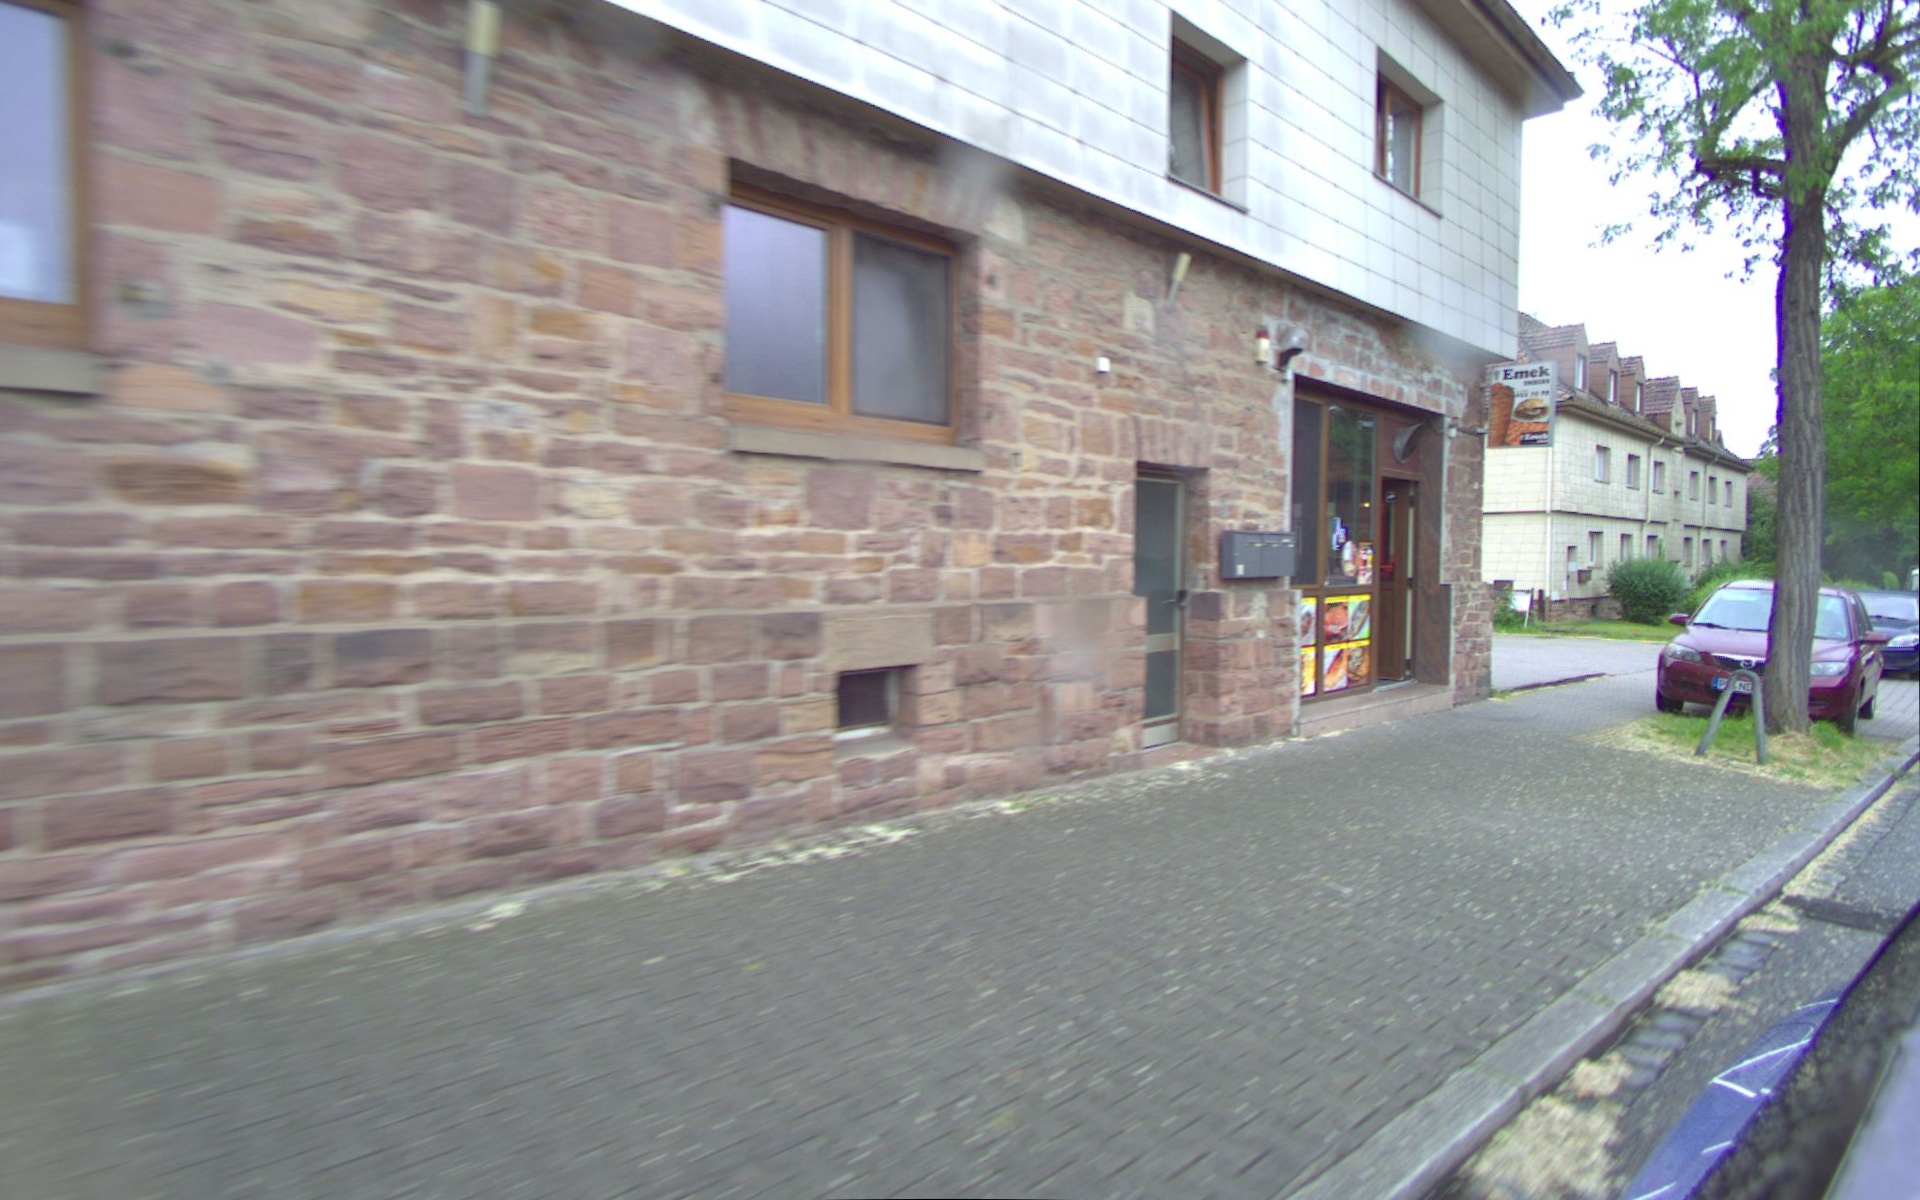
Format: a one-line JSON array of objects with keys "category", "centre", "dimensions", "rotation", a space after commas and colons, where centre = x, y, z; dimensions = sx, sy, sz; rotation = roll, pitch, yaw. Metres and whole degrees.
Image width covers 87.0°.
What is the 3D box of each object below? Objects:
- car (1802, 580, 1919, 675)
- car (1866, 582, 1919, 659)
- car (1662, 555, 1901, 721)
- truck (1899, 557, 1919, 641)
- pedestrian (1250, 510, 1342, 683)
[{"category": "car", "centre": [16.459, 0.418, 17.910], "dimensions": [3.930, 1.441, 1.719], "rotation": [-1, 4, -41]}, {"category": "car", "centre": [20.482, 0.407, 21.242], "dimensions": [3.932, 1.481, 1.719], "rotation": [-1, 4, -42]}, {"category": "car", "centre": [9.135, 0.387, 11.153], "dimensions": [3.693, 1.523, 1.612], "rotation": [2, -1, -44]}, {"category": "truck", "centre": [27.966, -0.003, 28.120], "dimensions": [5.653, 2.224, 1.998], "rotation": [0, 2, -40]}, {"category": "pedestrian", "centre": [3.542, -0.043, 10.686], "dimensions": [0.475, 1.751, 0.803], "rotation": [0, 0, -30]}]
